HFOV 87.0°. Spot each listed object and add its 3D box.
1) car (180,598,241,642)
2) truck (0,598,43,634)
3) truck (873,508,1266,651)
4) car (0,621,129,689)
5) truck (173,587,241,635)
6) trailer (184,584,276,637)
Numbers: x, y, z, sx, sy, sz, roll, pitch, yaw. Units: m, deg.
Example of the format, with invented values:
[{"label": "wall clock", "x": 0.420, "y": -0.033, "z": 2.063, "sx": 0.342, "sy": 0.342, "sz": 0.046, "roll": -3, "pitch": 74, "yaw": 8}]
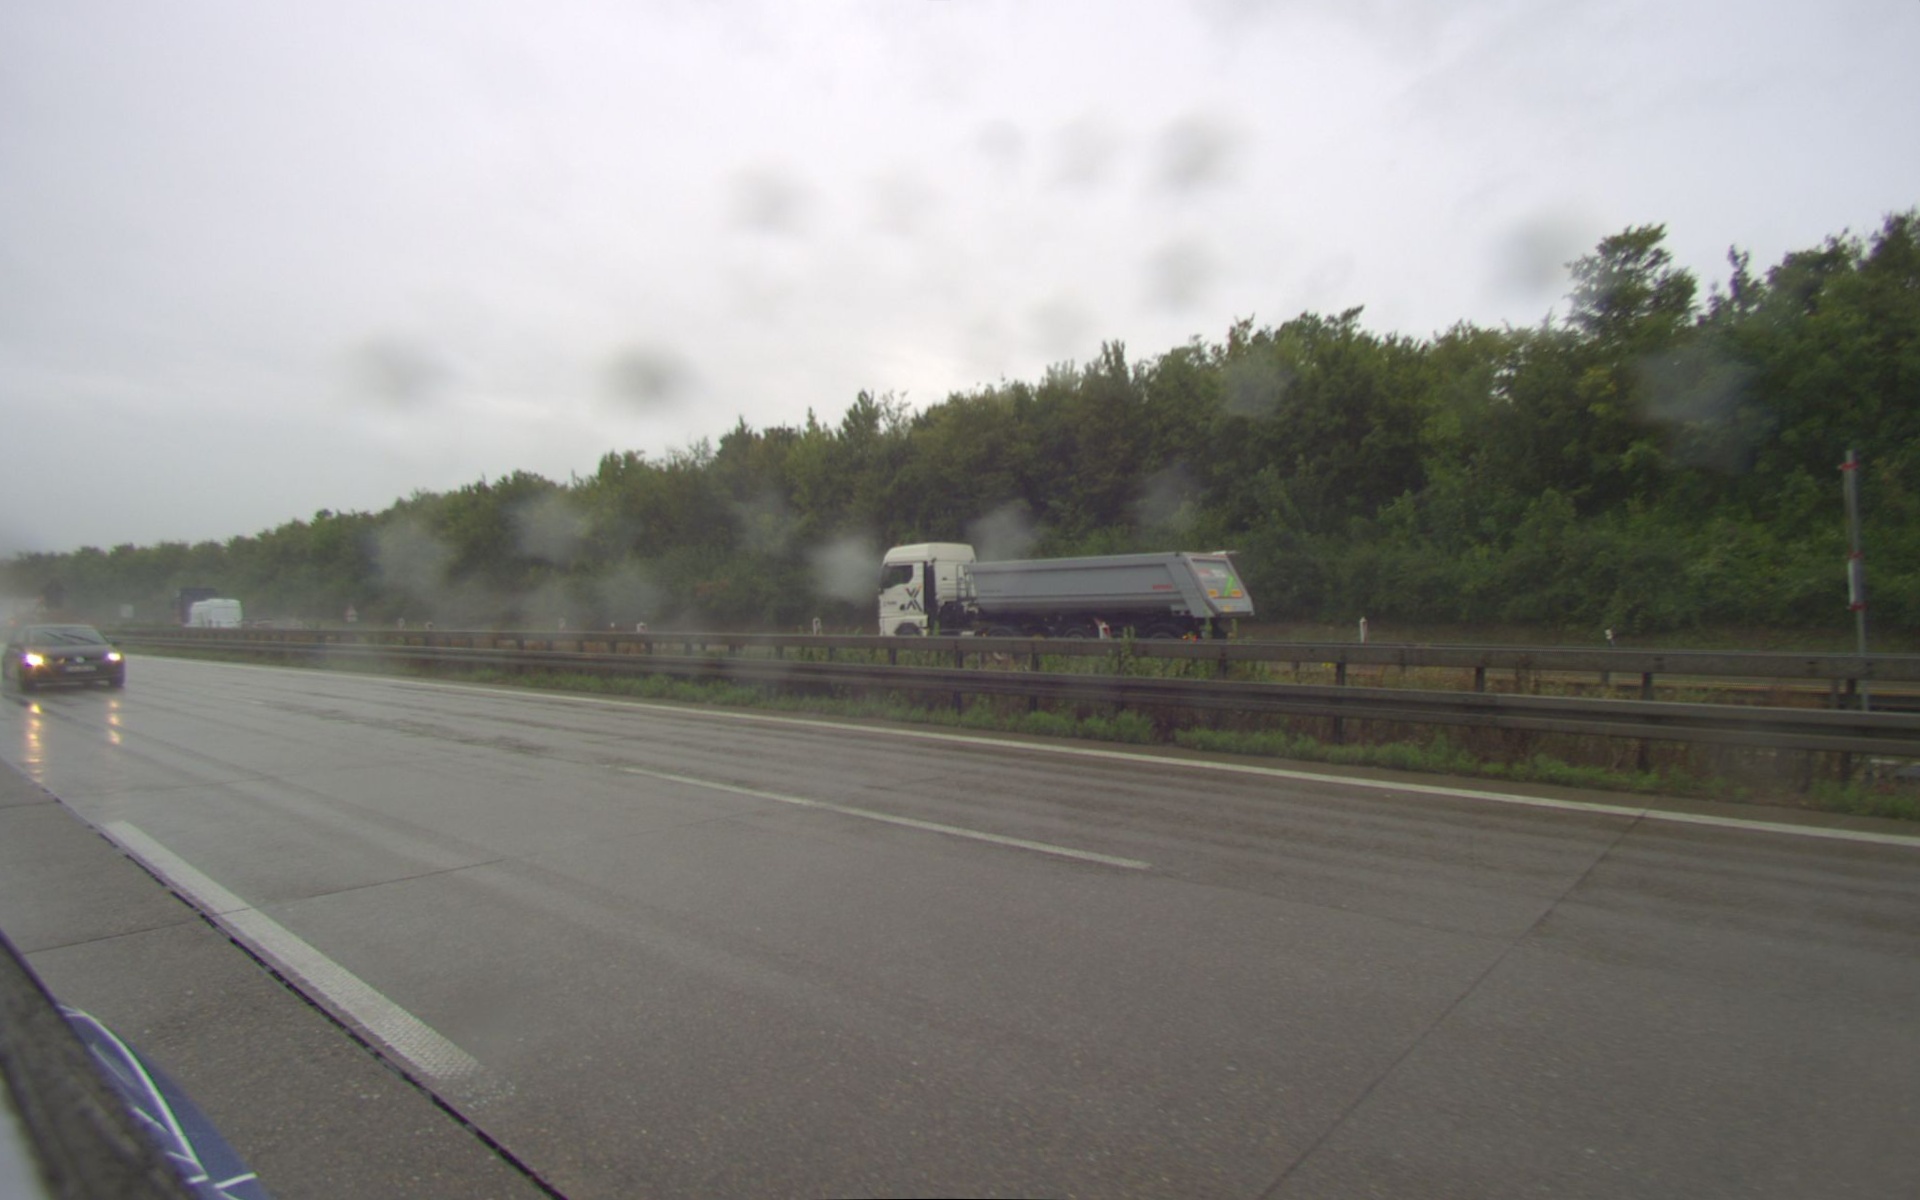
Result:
[{"label": "car", "x": -52.768, "y": 1.399, "z": 71.190, "sx": 6.529, "sy": 2.922, "sz": 2.067, "roll": -1, "pitch": 0, "yaw": 41}, {"label": "truck", "x": -119.809, "y": 2.072, "z": 128.133, "sx": 16.353, "sy": 4.277, "sz": 3.093, "roll": -1, "pitch": 0, "yaw": 39}, {"label": "truck", "x": 2.549, "y": -0.397, "z": 28.570, "sx": 11.510, "sy": 3.340, "sz": 2.745, "roll": -1, "pitch": 0, "yaw": 41}, {"label": "car", "x": -20.601, "y": 1.197, "z": 23.113, "sx": 4.318, "sy": 1.398, "sz": 1.723, "roll": -1, "pitch": -2, "yaw": 40}, {"label": "truck", "x": -62.811, "y": 0.922, "z": 84.366, "sx": 6.882, "sy": 3.886, "sz": 3.104, "roll": -1, "pitch": -1, "yaw": 41}, {"label": "trailer", "x": -57.946, "y": 0.863, "z": 80.143, "sx": 12.863, "sy": 3.886, "sz": 3.104, "roll": -1, "pitch": -1, "yaw": 41}]
